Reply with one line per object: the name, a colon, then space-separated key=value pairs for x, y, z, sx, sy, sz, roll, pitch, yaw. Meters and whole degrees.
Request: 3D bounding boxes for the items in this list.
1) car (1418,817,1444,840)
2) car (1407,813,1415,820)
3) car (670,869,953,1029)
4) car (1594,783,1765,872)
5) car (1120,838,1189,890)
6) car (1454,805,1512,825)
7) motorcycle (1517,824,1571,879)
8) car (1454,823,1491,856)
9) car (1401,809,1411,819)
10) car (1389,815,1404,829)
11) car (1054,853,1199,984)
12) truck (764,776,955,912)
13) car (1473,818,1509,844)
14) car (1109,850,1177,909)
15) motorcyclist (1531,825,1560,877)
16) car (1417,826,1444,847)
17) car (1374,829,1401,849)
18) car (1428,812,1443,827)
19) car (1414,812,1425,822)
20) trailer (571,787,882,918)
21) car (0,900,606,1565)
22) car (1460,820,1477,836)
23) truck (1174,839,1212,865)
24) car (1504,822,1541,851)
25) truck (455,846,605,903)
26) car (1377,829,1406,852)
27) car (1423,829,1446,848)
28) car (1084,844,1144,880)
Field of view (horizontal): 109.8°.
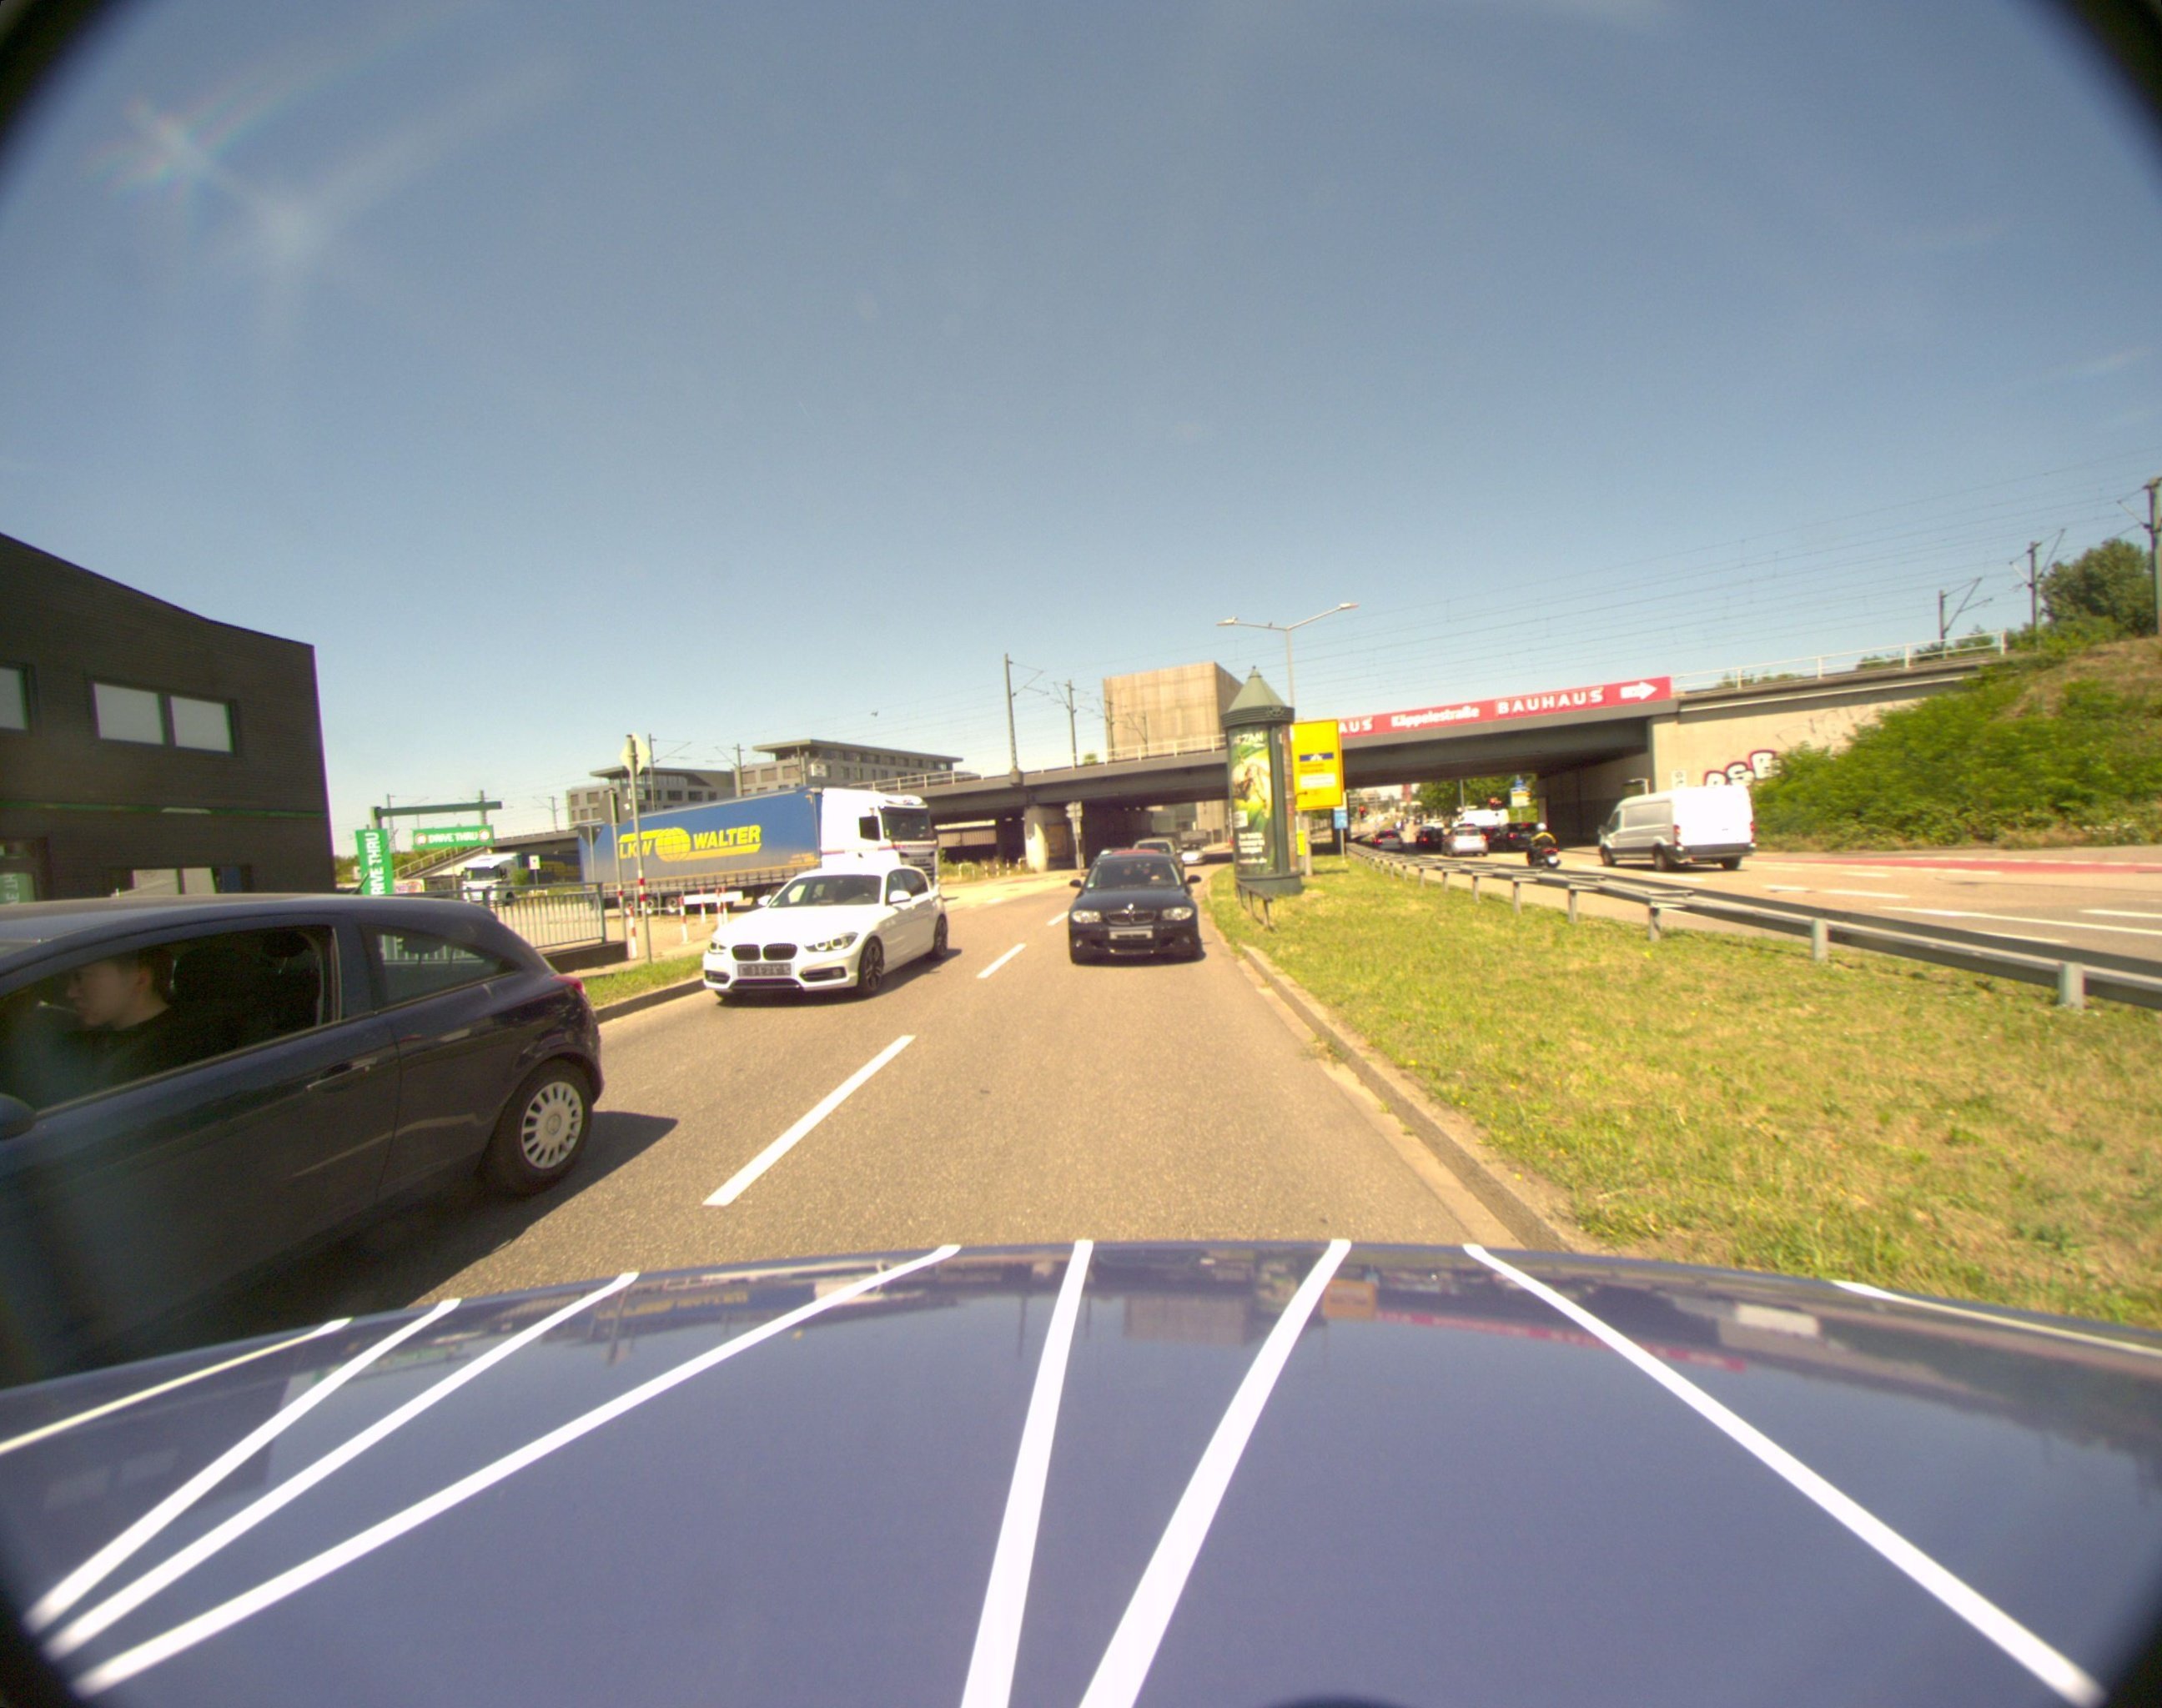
car: x=30.201 y=-2.191 z=65.522 sx=1.904 sy=1.849 sz=4.005 roll=-2 pitch=1 yaw=25
car: x=99.420 y=-11.229 z=228.821 sx=1.995 sy=2.002 sz=4.005 roll=-2 pitch=1 yaw=23
car: x=-3.019 y=0.988 z=9.552 sx=1.762 sy=1.435 sz=4.053 roll=-1 pitch=1 yaw=5
car: x=19.205 y=-0.735 z=24.817 sx=2.097 sy=2.485 sz=5.815 roll=-2 pitch=-1 yaw=13
car: x=2.778 y=0.306 z=27.992 sx=1.843 sy=1.686 sz=3.703 roll=-3 pitch=1 yaw=15
car: x=51.349 y=-4.973 z=97.244 sx=2.003 sy=2.091 sz=6.368 roll=-4 pitch=2 yaw=-32
motorcycle: x=14.878 y=-0.120 z=24.481 sx=0.598 sy=1.669 sz=2.426 roll=-3 pitch=1 yaw=11
car: x=20.440 y=-0.757 z=39.737 sx=1.635 sy=1.558 sz=4.079 roll=-2 pitch=1 yaw=26
car: x=76.259 y=-9.380 z=178.350 sx=1.836 sy=2.002 sz=4.005 roll=-2 pitch=1 yaw=22
car: x=47.471 y=-4.858 z=114.180 sx=1.995 sy=2.002 sz=4.005 roll=-2 pitch=1 yaw=23
car: x=0.810 y=0.788 z=11.168 sx=1.680 sy=1.409 sz=4.057 roll=-3 pitch=1 yaw=8
truck: x=-7.532 y=-0.260 z=25.772 sx=5.748 sy=4.078 sz=2.580 roll=-3 pitch=1 yaw=27
car: x=28.149 y=-1.593 z=52.255 sx=1.773 sy=1.658 sz=4.020 roll=-2 pitch=1 yaw=22
car: x=1.590 y=0.614 z=20.627 sx=1.646 sy=1.391 sz=4.052 roll=-1 pitch=1 yaw=2
motorcyclist: x=14.856 y=-0.113 z=24.313 sx=0.588 sy=1.617 sz=0.563 roll=-3 pitch=2 yaw=11
car: x=27.451 y=-1.410 z=59.682 sx=1.616 sy=1.468 sz=3.438 roll=-2 pitch=1 yaw=29
car: x=22.236 y=-1.131 z=55.044 sx=1.409 sy=1.312 sz=3.266 roll=-2 pitch=1 yaw=28
car: x=50.101 y=-4.862 z=107.413 sx=1.704 sy=2.002 sz=4.005 roll=-2 pitch=1 yaw=23
car: x=68.437 y=-7.511 z=153.738 sx=1.836 sy=2.002 sz=4.005 roll=-2 pitch=1 yaw=22
trailer: x=-14.010 y=0.169 z=29.134 sx=13.872 sy=4.067 sz=2.504 roll=-3 pitch=1 yaw=27
car: x=-3.411 y=1.008 z=2.038 sx=1.650 sy=1.436 sz=3.891 roll=-3 pitch=0 yaw=2
car: x=32.809 y=-2.195 z=64.273 sx=1.183 sy=1.241 sz=2.696 roll=-2 pitch=1 yaw=29
truck: x=7.337 y=-0.167 z=49.408 sx=1.729 sy=1.493 sz=4.004 roll=-3 pitch=1 yaw=18
car: x=24.821 y=-1.017 z=42.818 sx=1.516 sy=1.533 sz=3.685 roll=-2 pitch=1 yaw=26
truck: x=-46.098 y=1.386 z=64.803 sx=2.753 sy=4.080 sz=17.423 roll=-3 pitch=1 yaw=-10
car: x=20.182 y=-0.916 z=49.433 sx=1.636 sy=1.395 sz=4.227 roll=-1 pitch=1 yaw=22
car: x=25.155 y=-1.115 z=54.075 sx=1.268 sy=1.178 sz=2.782 roll=-2 pitch=1 yaw=29
car: x=1.605 y=0.328 z=35.848 sx=1.714 sy=1.434 sz=4.004 roll=-2 pitch=1 yaw=18
